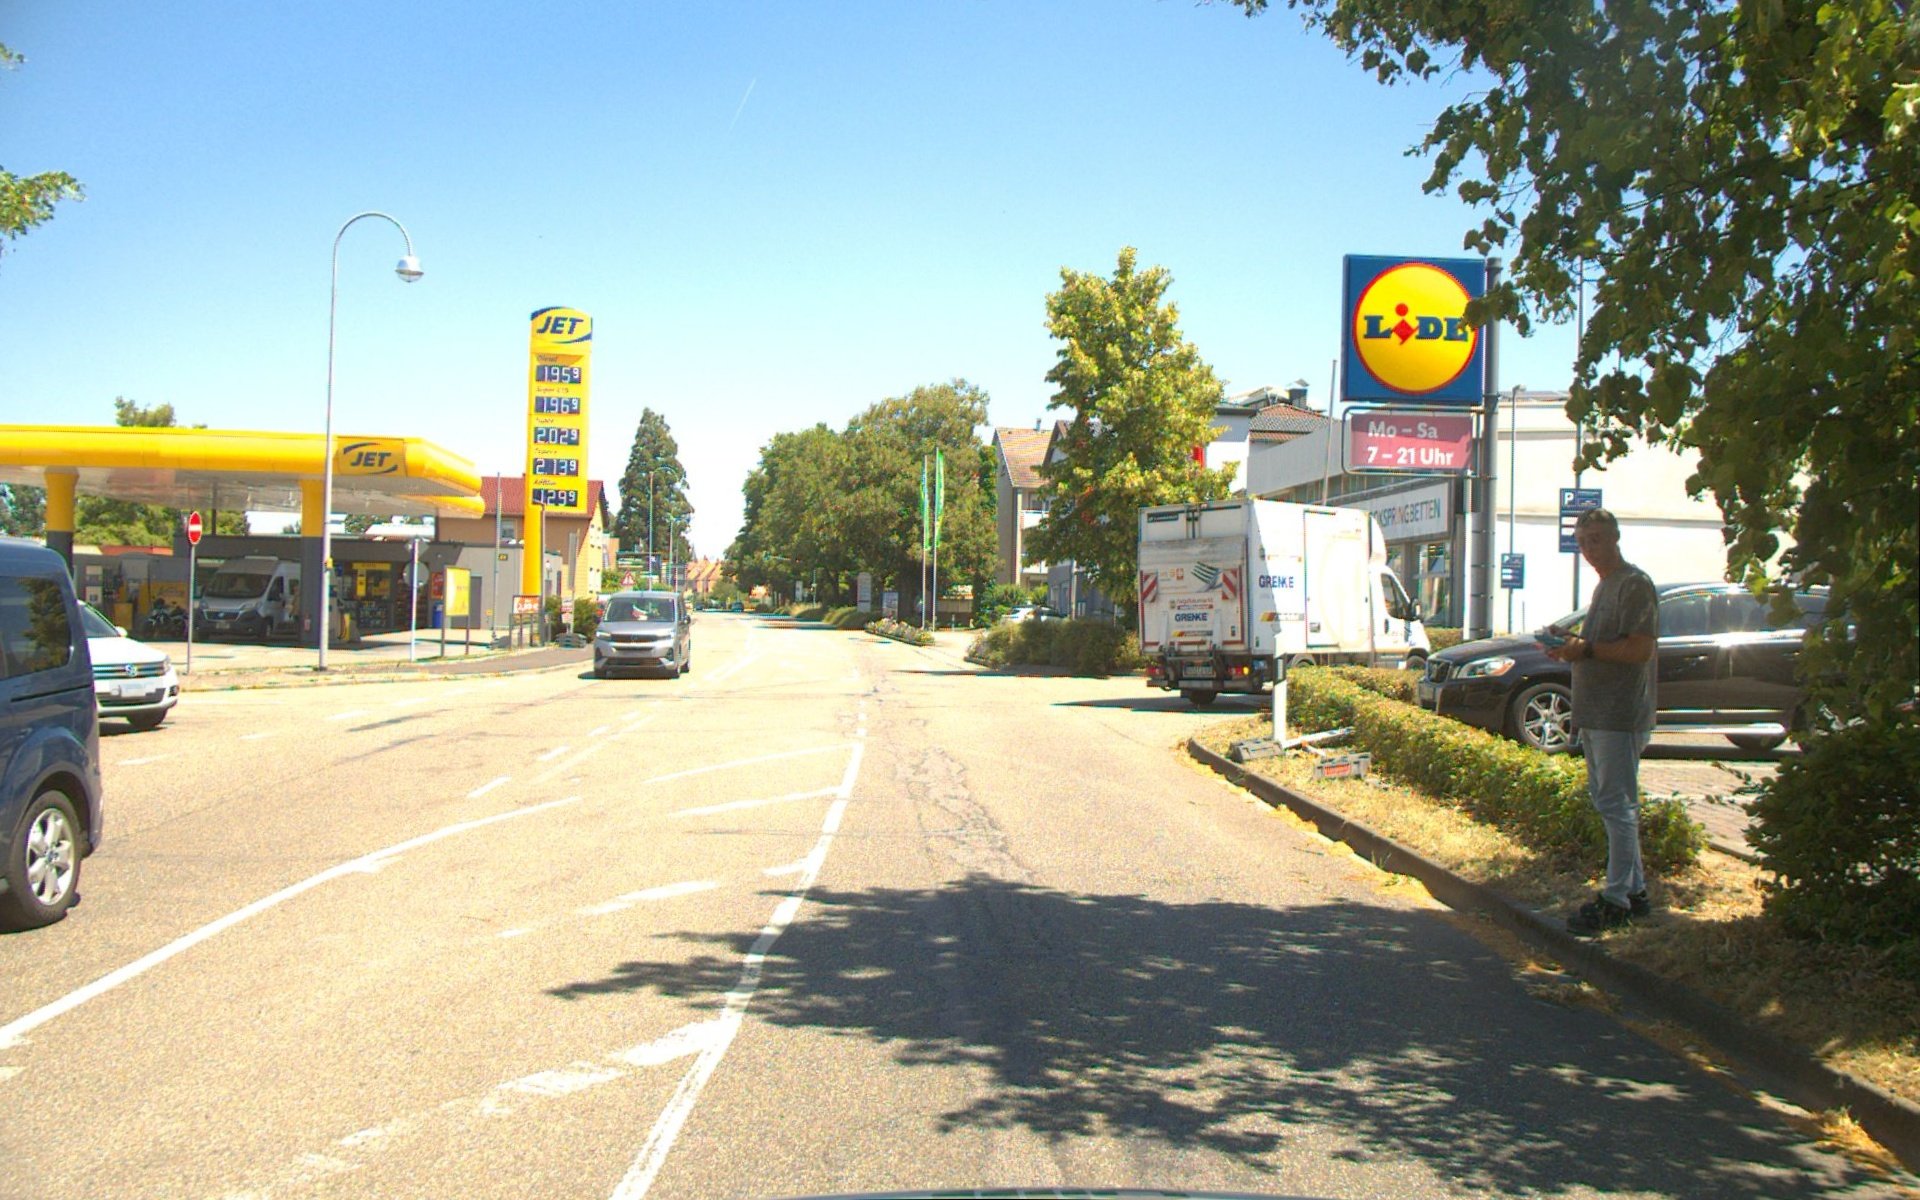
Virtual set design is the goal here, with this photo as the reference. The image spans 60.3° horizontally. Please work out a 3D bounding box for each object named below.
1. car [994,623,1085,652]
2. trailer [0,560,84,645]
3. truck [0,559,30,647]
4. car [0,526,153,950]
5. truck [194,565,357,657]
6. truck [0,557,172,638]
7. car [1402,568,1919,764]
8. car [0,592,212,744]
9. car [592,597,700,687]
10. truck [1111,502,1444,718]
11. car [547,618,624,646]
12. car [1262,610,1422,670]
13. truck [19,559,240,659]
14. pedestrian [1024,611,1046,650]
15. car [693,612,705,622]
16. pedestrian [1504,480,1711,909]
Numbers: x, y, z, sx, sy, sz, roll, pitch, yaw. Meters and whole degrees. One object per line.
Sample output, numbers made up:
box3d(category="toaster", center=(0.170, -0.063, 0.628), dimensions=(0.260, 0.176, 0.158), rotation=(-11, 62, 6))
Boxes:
box3d(category="car", center=(4.064, 1.904, 84.410), dimensions=(4.299, 1.395, 1.935), rotation=(2, -2, -31))
box3d(category="trailer", center=(-37.591, 0.117, 66.819), dimensions=(1.829, 3.276, 5.903), rotation=(1, -1, -7))
box3d(category="truck", center=(-37.109, 0.089, 63.000), dimensions=(1.811, 3.299, 3.184), rotation=(1, 0, -7))
box3d(category="car", center=(-4.956, 0.580, 6.107), dimensions=(1.787, 1.813, 4.779), rotation=(-1, -1, -3))
box3d(category="truck", center=(-21.130, 0.410, 51.468), dimensions=(2.188, 2.644, 6.731), rotation=(1, -2, 0))
box3d(category="truck", center=(-40.262, -0.106, 74.993), dimensions=(7.724, 3.486, 2.151), rotation=(1, -2, -9))
box3d(category="car", center=(6.768, 0.618, 16.124), dimensions=(4.421, 1.697, 1.894), rotation=(1, -1, 1))
box3d(category="car", center=(-11.472, 0.766, 20.368), dimensions=(4.153, 1.702, 1.973), rotation=(0, -1, 28))
box3d(category="car", center=(-6.715, 0.873, 35.721), dimensions=(1.760, 1.803, 4.360), rotation=(1, -1, -4))
box3d(category="truck", center=(5.140, 0.206, 26.032), dimensions=(2.380, 3.000, 5.915), rotation=(0, -1, 43))
box3d(category="car", center=(-21.039, 1.819, 92.944), dimensions=(4.049, 1.469, 1.823), rotation=(1, -2, -9))
box3d(category="car", center=(9.861, 1.040, 42.938), dimensions=(3.902, 1.486, 1.806), rotation=(0, -2, 8))
box3d(category="truck", center=(-26.546, 0.365, 53.247), dimensions=(2.583, 2.964, 6.736), rotation=(1, -2, 13))
box3d(category="pedestrian", center=(3.226, 1.312, 70.929), dimensions=(0.823, 1.670, 1.009), rotation=(1, -2, -3))
box3d(category="car", center=(-40.256, 2.613, 254.936), dimensions=(1.678, 1.521, 4.269), rotation=(1, -1, -9))
box3d(category="pedestrian", center=(2.874, 0.407, 7.395), dimensions=(0.714, 1.820, 0.621), rotation=(1, -2, 5))
